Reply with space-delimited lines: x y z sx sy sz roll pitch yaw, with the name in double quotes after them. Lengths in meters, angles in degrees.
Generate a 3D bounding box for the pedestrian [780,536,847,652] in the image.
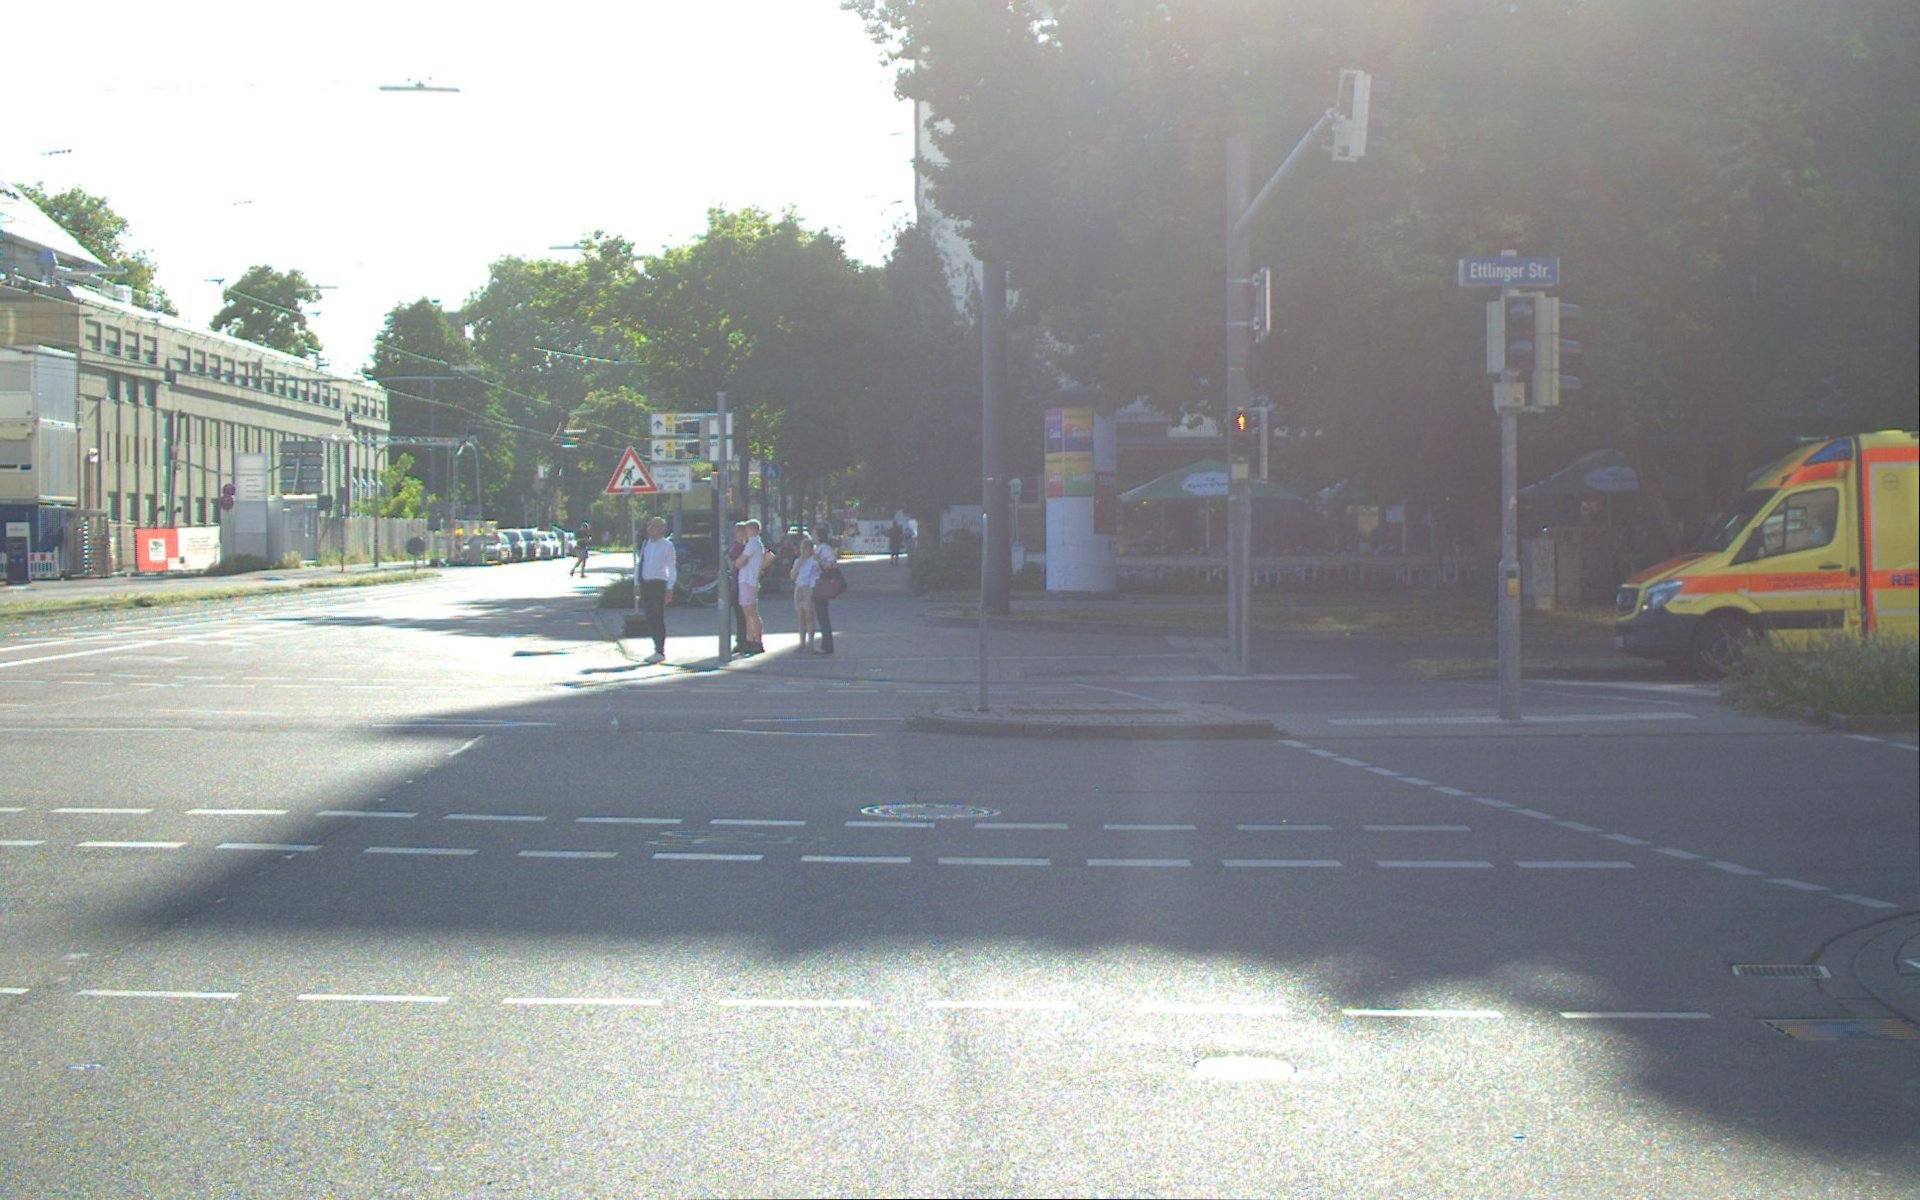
-1.987 -0.088 46.588 0.762 1.553 0.588 -1 1 -17 "pedestrian"

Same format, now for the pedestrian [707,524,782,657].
-2.928 -0.135 46.575 0.847 1.778 0.780 -1 1 -17 "pedestrian"

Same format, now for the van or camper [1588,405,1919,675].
10.655 -0.609 38.680 6.709 2.852 2.910 1 0 4 "van or camper"

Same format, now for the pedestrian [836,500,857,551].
-8.096 -5.351 245.870 1.401 3.584 1.568 1 0 -1 "pedestrian"

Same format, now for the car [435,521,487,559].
-22.618 -2.715 155.922 1.819 1.706 3.806 0 1 -1 "car"

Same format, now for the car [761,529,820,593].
-5.294 -1.203 107.621 1.684 1.955 3.509 1 0 -1 "car"

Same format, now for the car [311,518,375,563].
-23.934 -2.327 133.455 1.819 1.706 3.806 0 1 -1 "car"

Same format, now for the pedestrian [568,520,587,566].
-12.221 -1.821 109.876 0.524 1.479 0.437 1 0 -2 "pedestrian"

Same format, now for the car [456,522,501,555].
-22.398 -2.874 160.011 1.609 1.493 3.806 0 1 -1 "car"

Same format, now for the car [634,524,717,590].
-6.755 -0.998 81.851 1.684 1.495 3.509 1 0 -1 "car"

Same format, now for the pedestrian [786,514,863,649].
-1.808 -0.250 45.843 0.847 1.778 0.780 -1 1 -17 "pedestrian"

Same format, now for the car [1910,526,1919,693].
11.564 0.148 33.024 4.314 1.641 1.888 1 0 0 "car"

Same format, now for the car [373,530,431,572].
-23.408 -2.066 144.283 1.819 1.706 3.806 0 1 -1 "car"

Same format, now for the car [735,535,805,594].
-5.073 -0.937 92.009 1.684 1.495 3.509 1 0 -1 "car"

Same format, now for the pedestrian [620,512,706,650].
-3.885 -0.254 44.975 0.965 1.778 0.780 -1 1 -17 "pedestrian"

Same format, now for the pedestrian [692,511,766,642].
-3.187 -0.328 47.373 0.847 1.778 0.780 -1 1 -17 "pedestrian"
